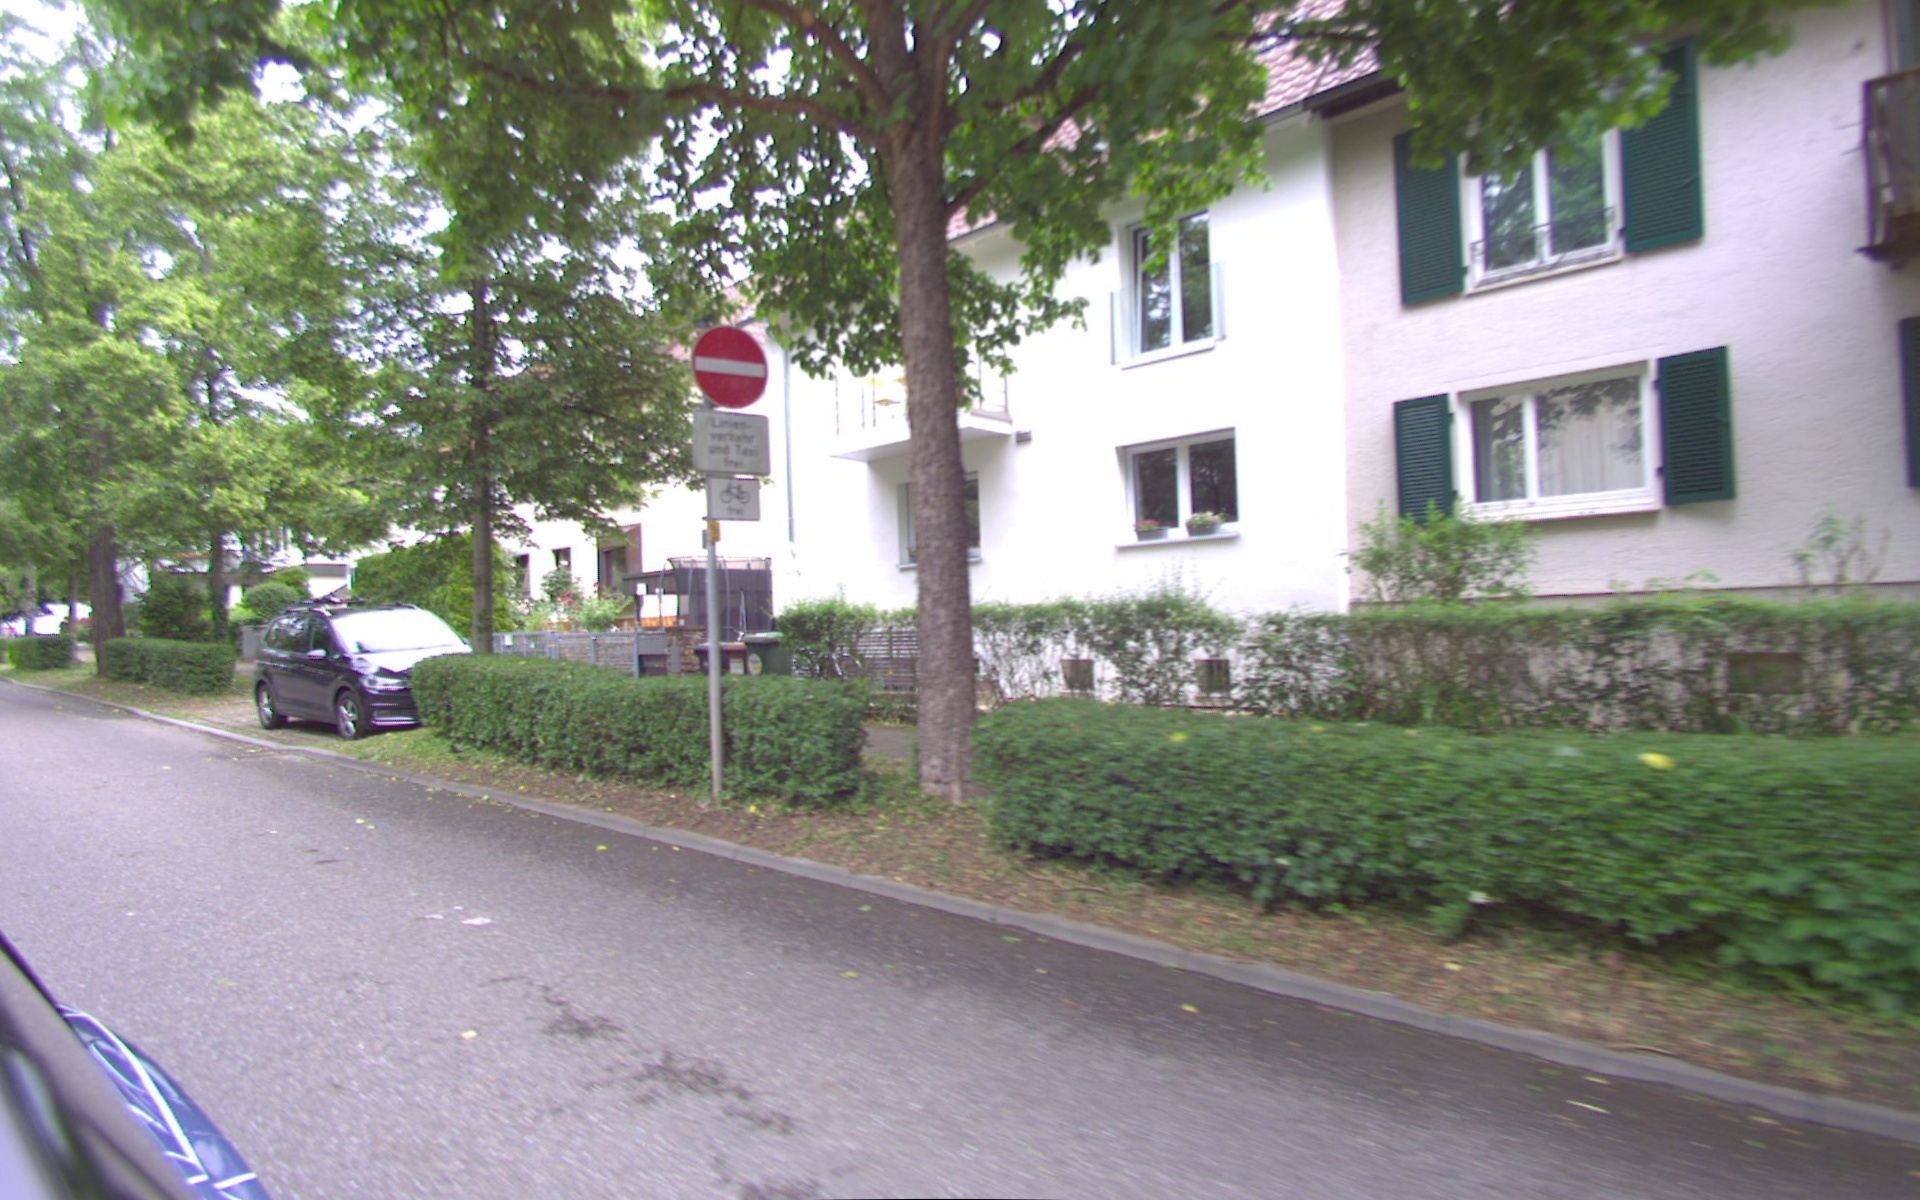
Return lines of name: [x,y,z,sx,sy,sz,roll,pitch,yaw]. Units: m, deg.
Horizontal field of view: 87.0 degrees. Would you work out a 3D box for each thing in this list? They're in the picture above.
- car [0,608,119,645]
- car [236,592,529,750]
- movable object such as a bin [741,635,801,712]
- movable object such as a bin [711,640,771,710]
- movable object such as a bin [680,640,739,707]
car: [-61.219,1.747,68.641,1.960,2.365,6.332,-1,-1,18]
car: [-7.763,0.844,13.443,4.446,1.767,1.808,-2,0,38]
movable object such as a bin: [-2.616,1.004,14.039,0.600,1.033,0.554,-2,-2,35]
movable object such as a bin: [-3.121,1.054,14.421,0.639,0.947,0.554,-2,-2,36]
movable object such as a bin: [-3.665,1.062,14.806,0.639,0.947,0.554,-2,-2,36]
